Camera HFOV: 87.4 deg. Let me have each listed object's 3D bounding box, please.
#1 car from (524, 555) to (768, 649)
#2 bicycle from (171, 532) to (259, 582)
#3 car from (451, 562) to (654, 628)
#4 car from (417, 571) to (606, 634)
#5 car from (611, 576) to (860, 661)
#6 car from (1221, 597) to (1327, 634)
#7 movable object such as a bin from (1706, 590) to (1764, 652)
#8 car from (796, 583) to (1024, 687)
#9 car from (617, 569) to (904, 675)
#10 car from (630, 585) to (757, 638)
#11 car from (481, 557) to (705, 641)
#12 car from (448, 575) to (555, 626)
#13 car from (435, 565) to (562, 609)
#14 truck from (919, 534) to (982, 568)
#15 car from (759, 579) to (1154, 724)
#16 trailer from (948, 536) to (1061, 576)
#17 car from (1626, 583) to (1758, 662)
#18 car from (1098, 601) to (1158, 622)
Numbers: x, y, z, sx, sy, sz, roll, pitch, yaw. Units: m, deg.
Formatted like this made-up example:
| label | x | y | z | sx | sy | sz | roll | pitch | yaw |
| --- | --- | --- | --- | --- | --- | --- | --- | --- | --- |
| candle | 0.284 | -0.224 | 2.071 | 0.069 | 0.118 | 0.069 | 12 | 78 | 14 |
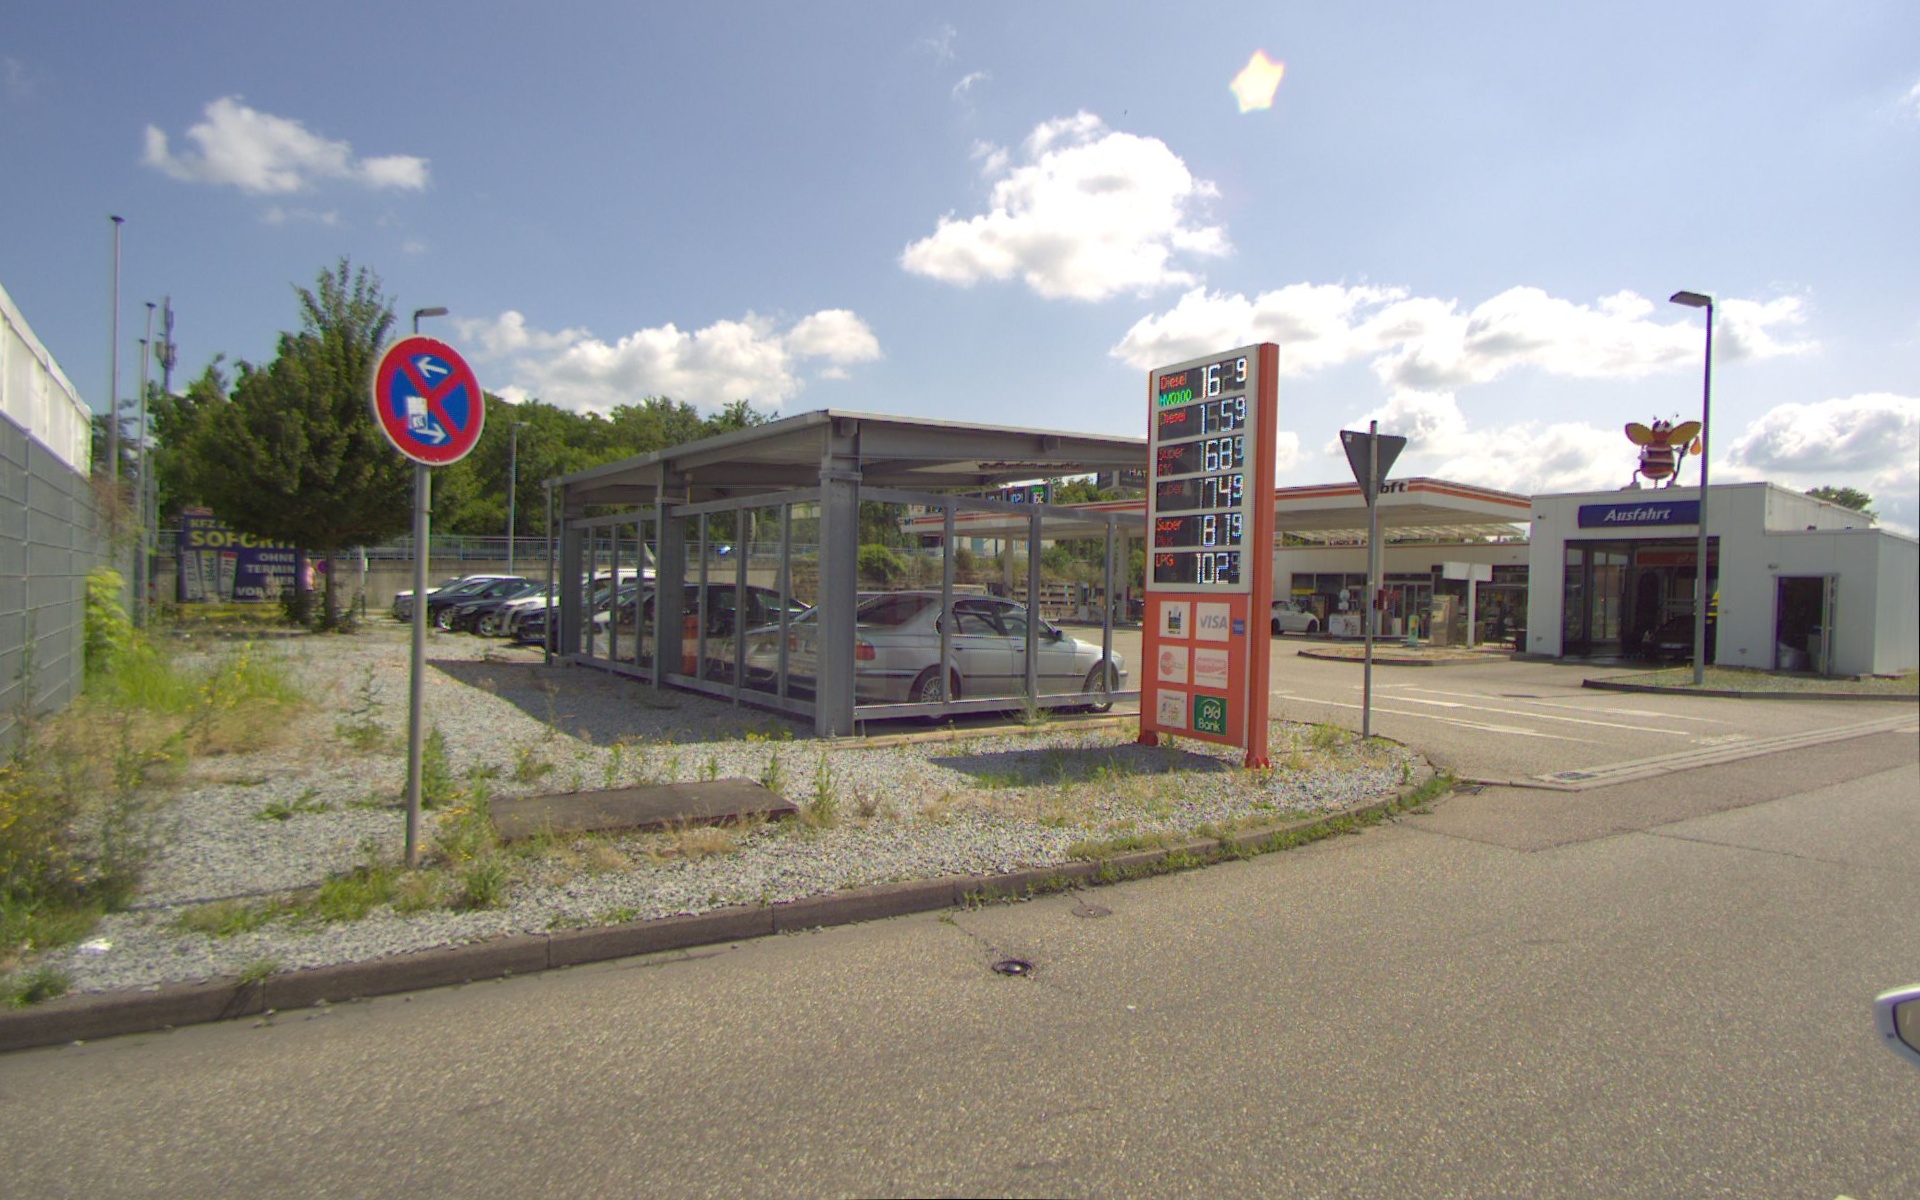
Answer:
| label | x | y | z | sx | sy | sz | roll | pitch | yaw |
| --- | --- | --- | --- | --- | --- | --- | --- | --- | --- |
| car | -6.596 | 0.086 | 21.351 | 4.556 | 1.790 | 1.978 | 2 | 0 | -38 |
| bicycle | -29.011 | -1.649 | 39.153 | 2.674 | 1.773 | 0.528 | 2 | 0 | -44 |
| car | -10.627 | -0.085 | 26.346 | 4.560 | 1.573 | 1.977 | 2 | 0 | -40 |
| car | -12.726 | 0.104 | 28.632 | 4.560 | 1.619 | 1.977 | 2 | 0 | -40 |
| car | -4.225 | 0.357 | 19.236 | 4.280 | 1.457 | 1.874 | 2 | 0 | -40 |
| car | 13.190 | 0.665 | 42.071 | 4.541 | 1.450 | 1.879 | 2 | 0 | -35 |
| movable object such as a bin | 28.622 | 0.790 | 37.072 | 2.681 | 2.181 | 1.054 | 3 | -1 | -39 |
| car | -0.708 | 0.490 | 14.989 | 3.030 | 1.362 | 1.580 | 2 | 1 | -40 |
| car | -3.199 | 0.329 | 16.537 | 4.216 | 1.517 | 1.977 | 1 | 1 | -40 |
| car | -8.399 | 0.335 | 31.453 | 1.910 | 1.508 | 4.472 | 2 | 0 | -44 |
| car | -8.604 | 0.030 | 23.767 | 4.560 | 1.802 | 1.977 | 2 | 0 | -40 |
| car | -15.612 | 0.033 | 34.261 | 3.098 | 1.646 | 1.257 | 2 | 0 | -40 |
| car | -18.772 | -0.510 | 40.960 | 4.284 | 1.624 | 1.974 | 2 | 0 | -44 |
| truck | -0.776 | -4.371 | 90.639 | 5.806 | 2.661 | 2.123 | 2 | 0 | -44 |
| car | 0.138 | 0.552 | 12.216 | 4.757 | 1.396 | 1.899 | 2 | 1 | -43 |
| trailer | 4.438 | -4.072 | 95.760 | 13.405 | 3.004 | 2.123 | 2 | 0 | -44 |
| car | 21.586 | 0.661 | 29.537 | 4.969 | 2.137 | 1.977 | 2 | 0 | -40 |
| car | 12.261 | 0.843 | 73.478 | 1.985 | 1.412 | 3.951 | 2 | 0 | -41 |
